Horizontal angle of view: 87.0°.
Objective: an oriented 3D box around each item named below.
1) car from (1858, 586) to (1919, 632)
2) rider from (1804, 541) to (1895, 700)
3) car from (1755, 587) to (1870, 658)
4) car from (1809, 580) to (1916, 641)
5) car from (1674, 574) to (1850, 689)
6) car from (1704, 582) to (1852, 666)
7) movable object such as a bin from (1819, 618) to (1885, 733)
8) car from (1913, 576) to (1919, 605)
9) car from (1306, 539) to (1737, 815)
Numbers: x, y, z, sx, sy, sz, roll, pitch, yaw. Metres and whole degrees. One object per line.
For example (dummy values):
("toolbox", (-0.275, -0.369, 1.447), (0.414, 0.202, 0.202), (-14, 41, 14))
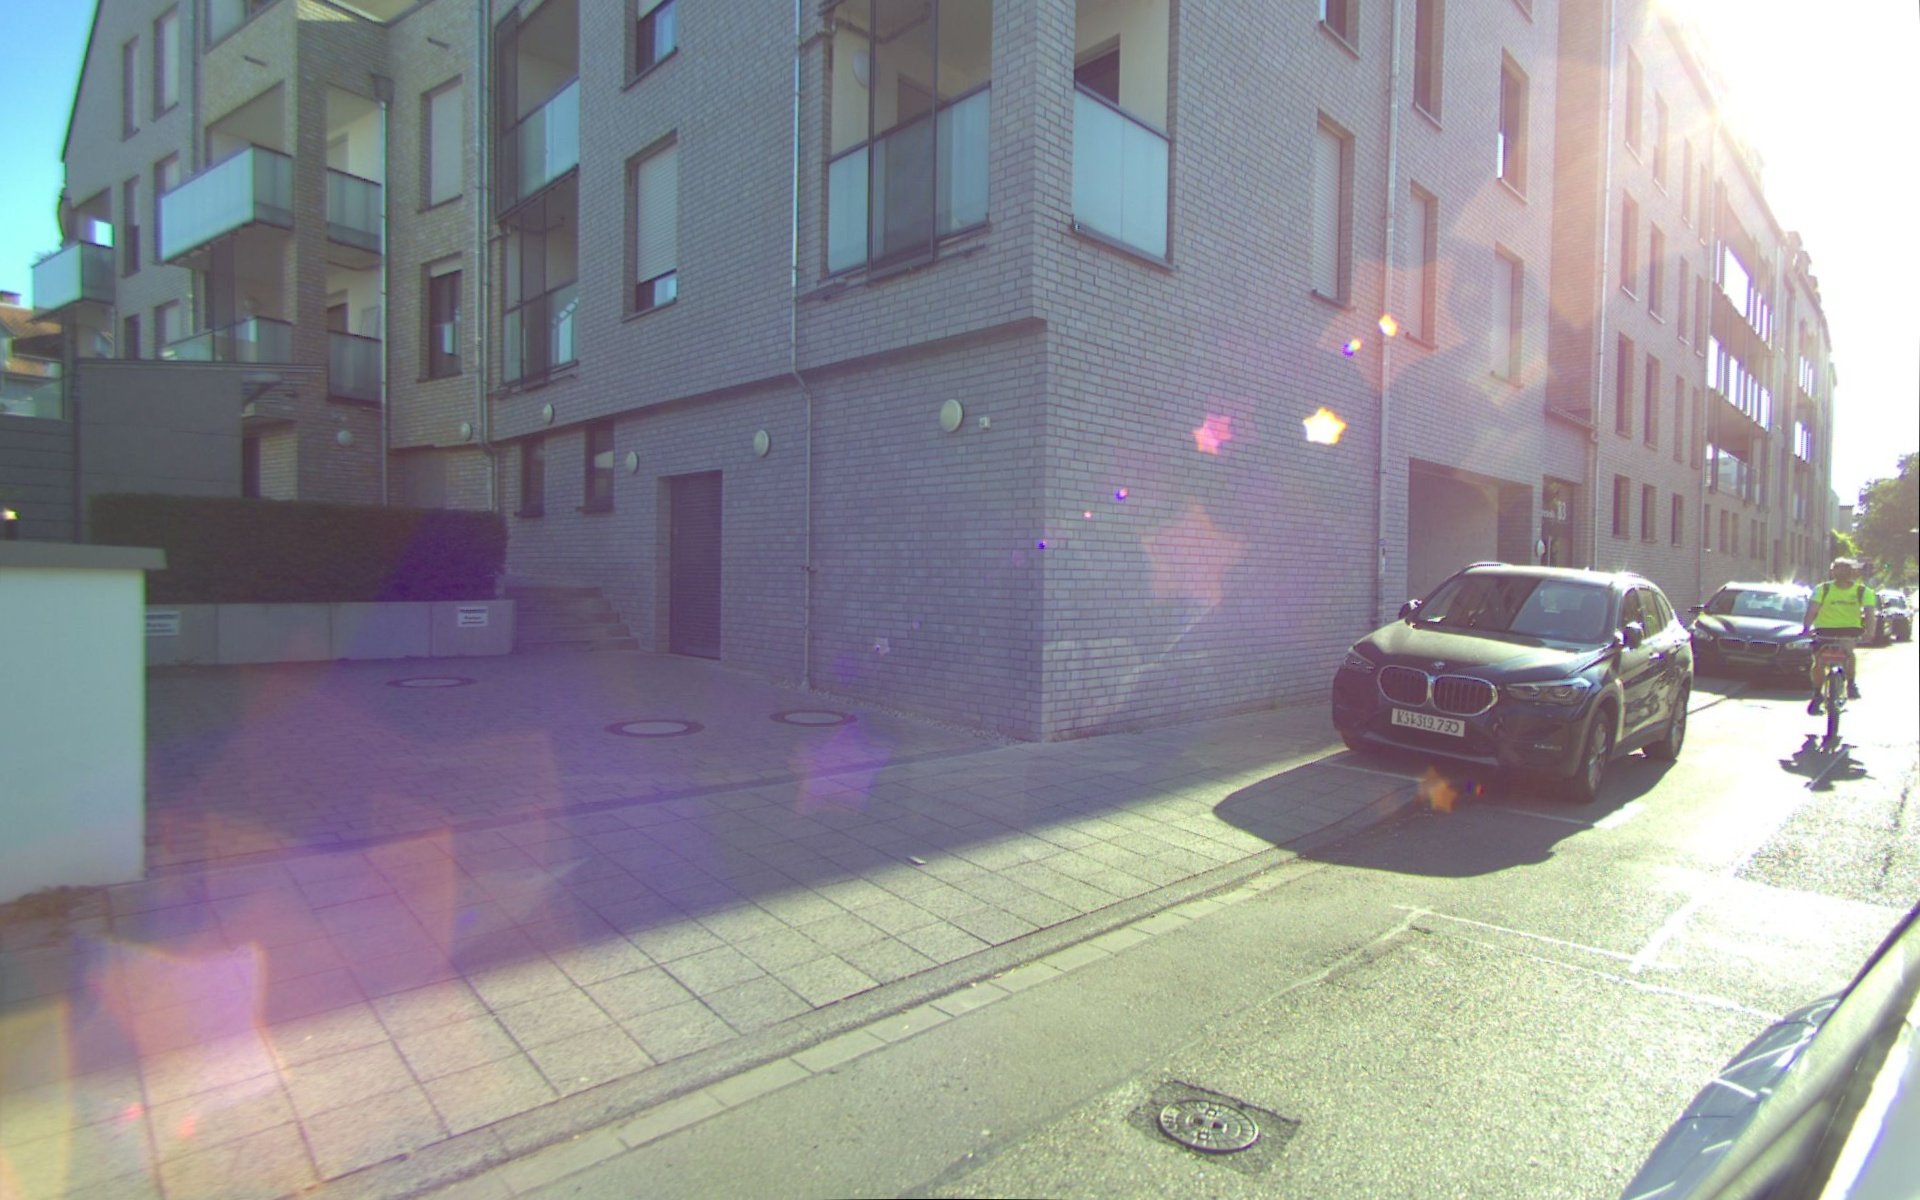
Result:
("car", (32.937, 0.272, 35.635), (1.817, 1.484, 4.203), (3, 3, 43))
("rider", (9.413, 0.189, 10.696), (0.653, 1.581, 1.066), (-2, 1, 44))
("car", (20.792, 0.482, 24.634), (1.715, 1.421, 4.008), (8, 6, 44))
("car", (28.423, 0.308, 31.830), (4.690, 1.733, 1.893), (0, 2, -41))
("car", (13.961, 0.445, 17.504), (1.993, 1.673, 4.688), (3, 2, 43))
("car", (17.279, 0.430, 21.303), (1.995, 1.524, 4.296), (3, 2, 44))
("movable object such as a bin", (9.547, 0.764, 10.812), (0.454, 1.046, 1.812), (-2, 1, 43))
("car", (51.222, -0.505, 53.006), (1.817, 1.484, 4.203), (3, 3, 43))
("car", (4.937, 0.438, 8.566), (4.546, 1.656, 1.857), (0, 5, -44))
